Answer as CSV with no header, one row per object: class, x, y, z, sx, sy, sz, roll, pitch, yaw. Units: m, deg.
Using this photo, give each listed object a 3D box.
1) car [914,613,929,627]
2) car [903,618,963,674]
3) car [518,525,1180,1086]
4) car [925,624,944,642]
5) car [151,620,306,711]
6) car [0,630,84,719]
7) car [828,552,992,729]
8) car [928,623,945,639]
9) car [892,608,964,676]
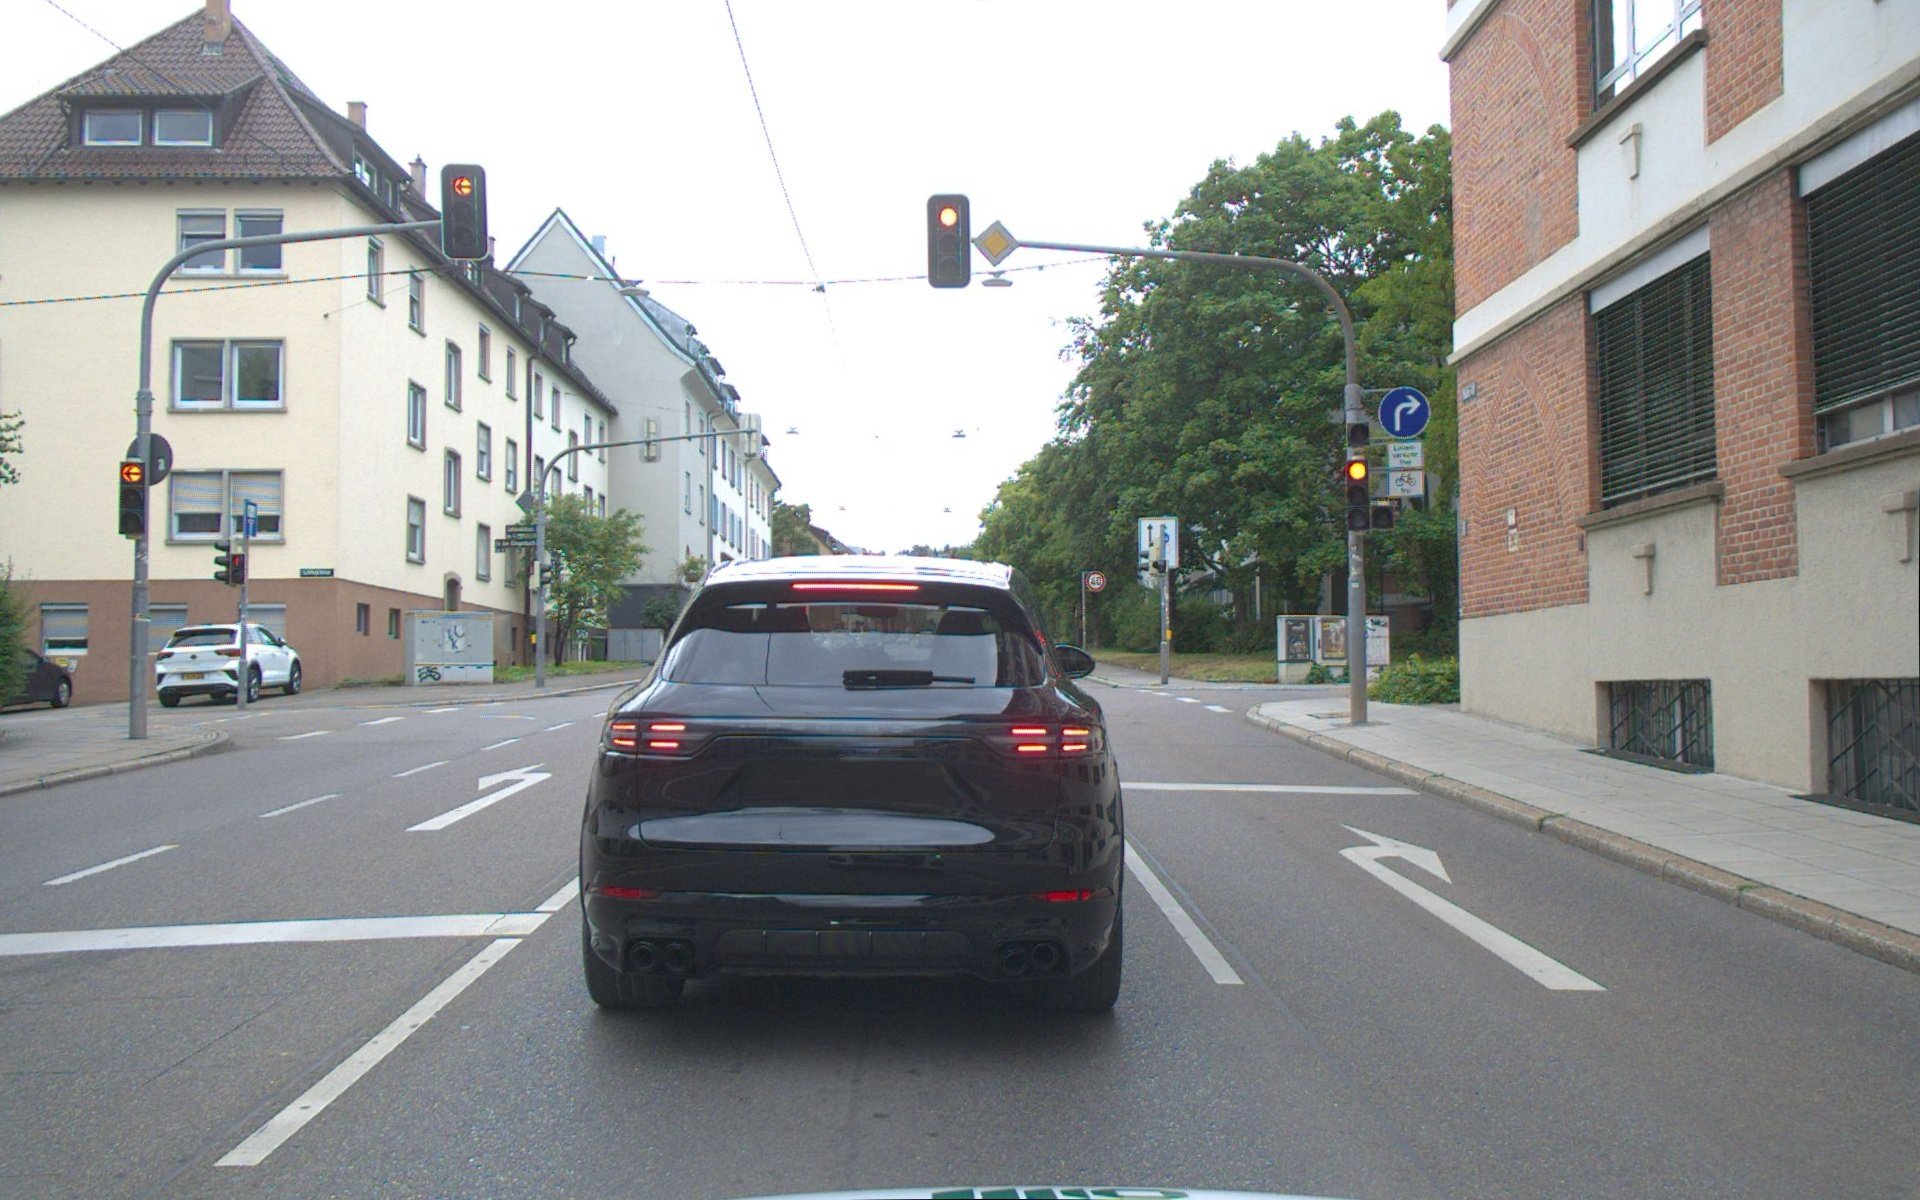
car,-4.686,2.422,202.835,1.790,1.633,4.134,1,0,-1
car,-0.839,1.425,52.503,1.790,1.633,3.858,1,0,-1
car,-0.357,0.630,7.233,2.007,1.695,4.266,1,0,-1
car,-2.502,3.243,163.219,1.790,1.633,4.134,1,0,-1
car,-14.722,1.276,33.487,1.658,1.582,3.762,-3,0,-5
car,-19.627,1.522,33.759,1.658,1.636,3.762,-3,0,-5
car,-0.619,0.481,21.879,1.925,2.078,4.134,1,0,-1
car,-2.571,3.404,182.391,1.790,1.633,4.134,1,0,-1
car,-0.835,1.073,43.790,1.790,1.633,4.134,1,0,-1
